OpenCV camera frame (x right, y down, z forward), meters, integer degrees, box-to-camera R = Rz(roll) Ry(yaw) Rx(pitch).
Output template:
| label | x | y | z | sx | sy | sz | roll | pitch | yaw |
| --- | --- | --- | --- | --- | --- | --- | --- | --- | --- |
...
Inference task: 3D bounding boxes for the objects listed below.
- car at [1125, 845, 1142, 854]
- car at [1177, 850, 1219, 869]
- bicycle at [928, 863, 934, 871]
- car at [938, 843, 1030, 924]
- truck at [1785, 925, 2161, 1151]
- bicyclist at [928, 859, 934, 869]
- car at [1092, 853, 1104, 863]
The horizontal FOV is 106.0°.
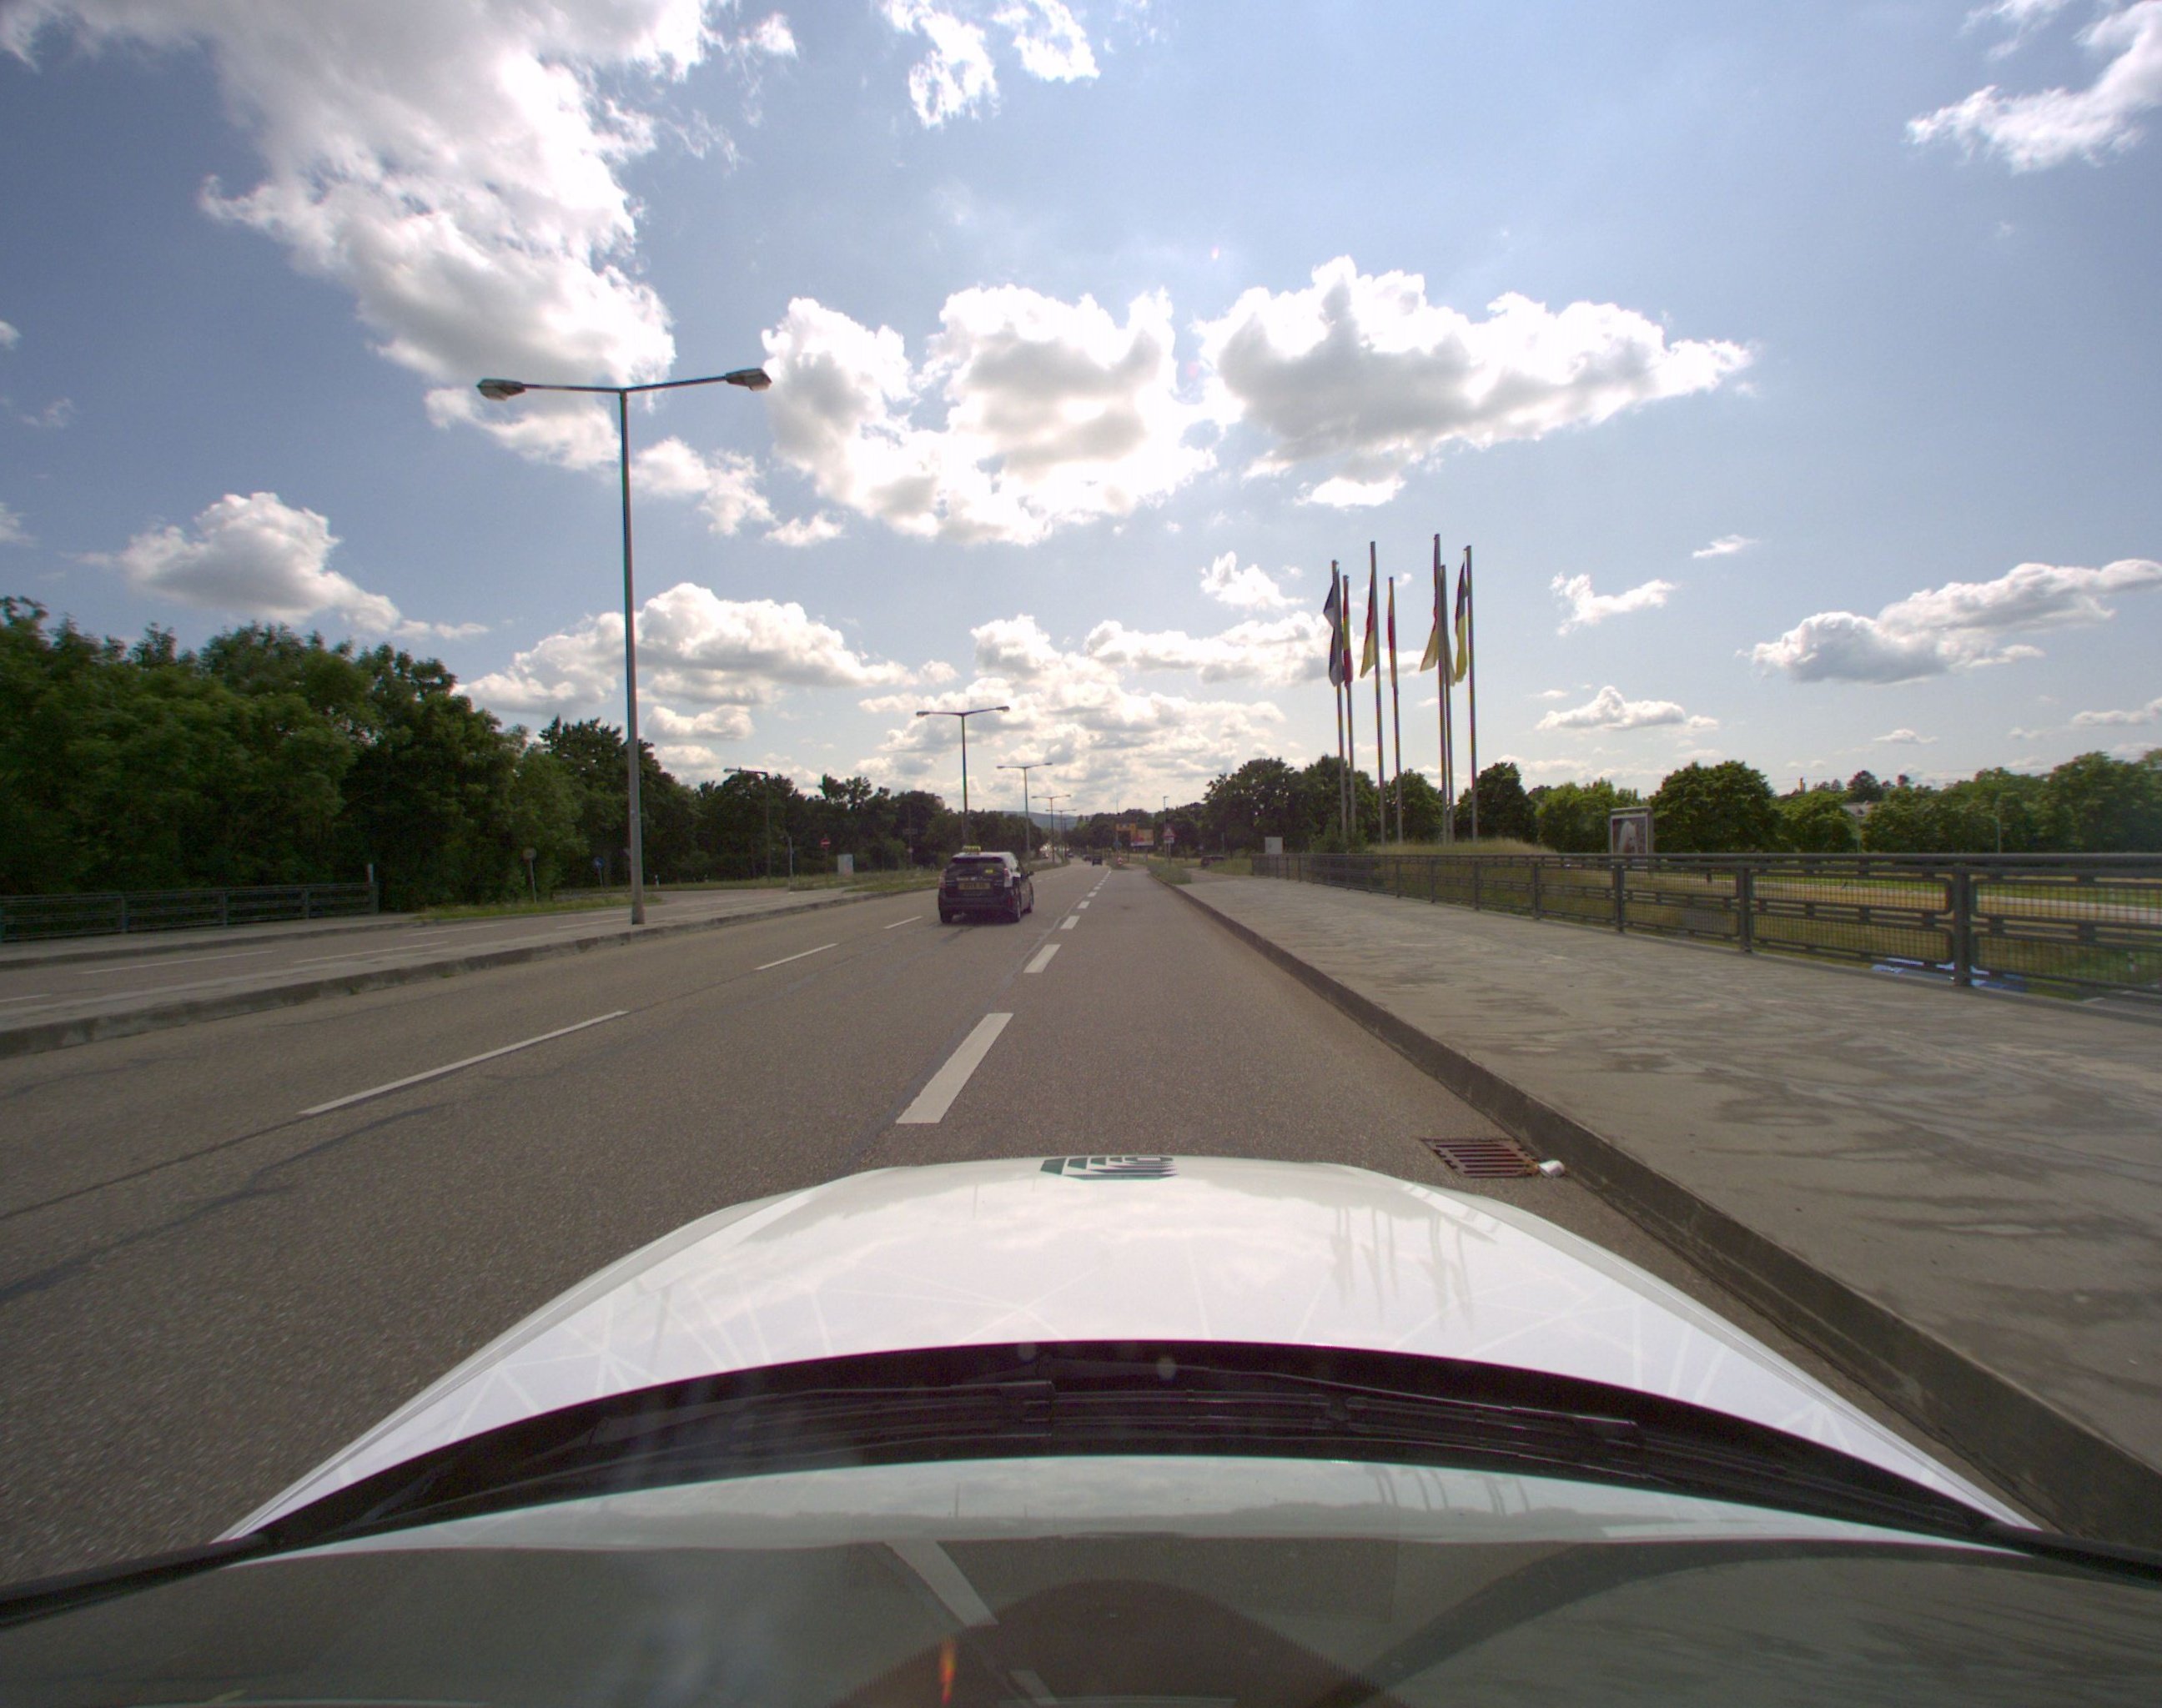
| label | x | y | z | sx | sy | sz | roll | pitch | yaw |
| --- | --- | --- | --- | --- | --- | --- | --- | --- | --- |
| car | 10.181 | -0.874 | 158.758 | 2.000 | 1.661 | 3.973 | -1 | 1 | -20 |
| car | 11.157 | 0.484 | 77.241 | 1.975 | 1.661 | 4.024 | 1 | 1 | 44 |
| bicycle | -19.453 | 1.689 | 105.676 | 0.430 | 1.068 | 1.907 | 0 | 1 | -1 |
| car | -2.186 | 0.604 | 19.255 | 1.774 | 1.683 | 3.998 | 0 | 1 | -2 |
| truck | 24.482 | 4.492 | 21.994 | 9.628 | 4.403 | 3.993 | -1 | 1 | -19 |
| bicyclist | -19.455 | 1.245 | 105.694 | 0.519 | 1.272 | 1.106 | 0 | 1 | -1 |
| car | 2.903 | 0.702 | 141.121 | 1.988 | 1.661 | 3.999 | 0 | 1 | -1 |
